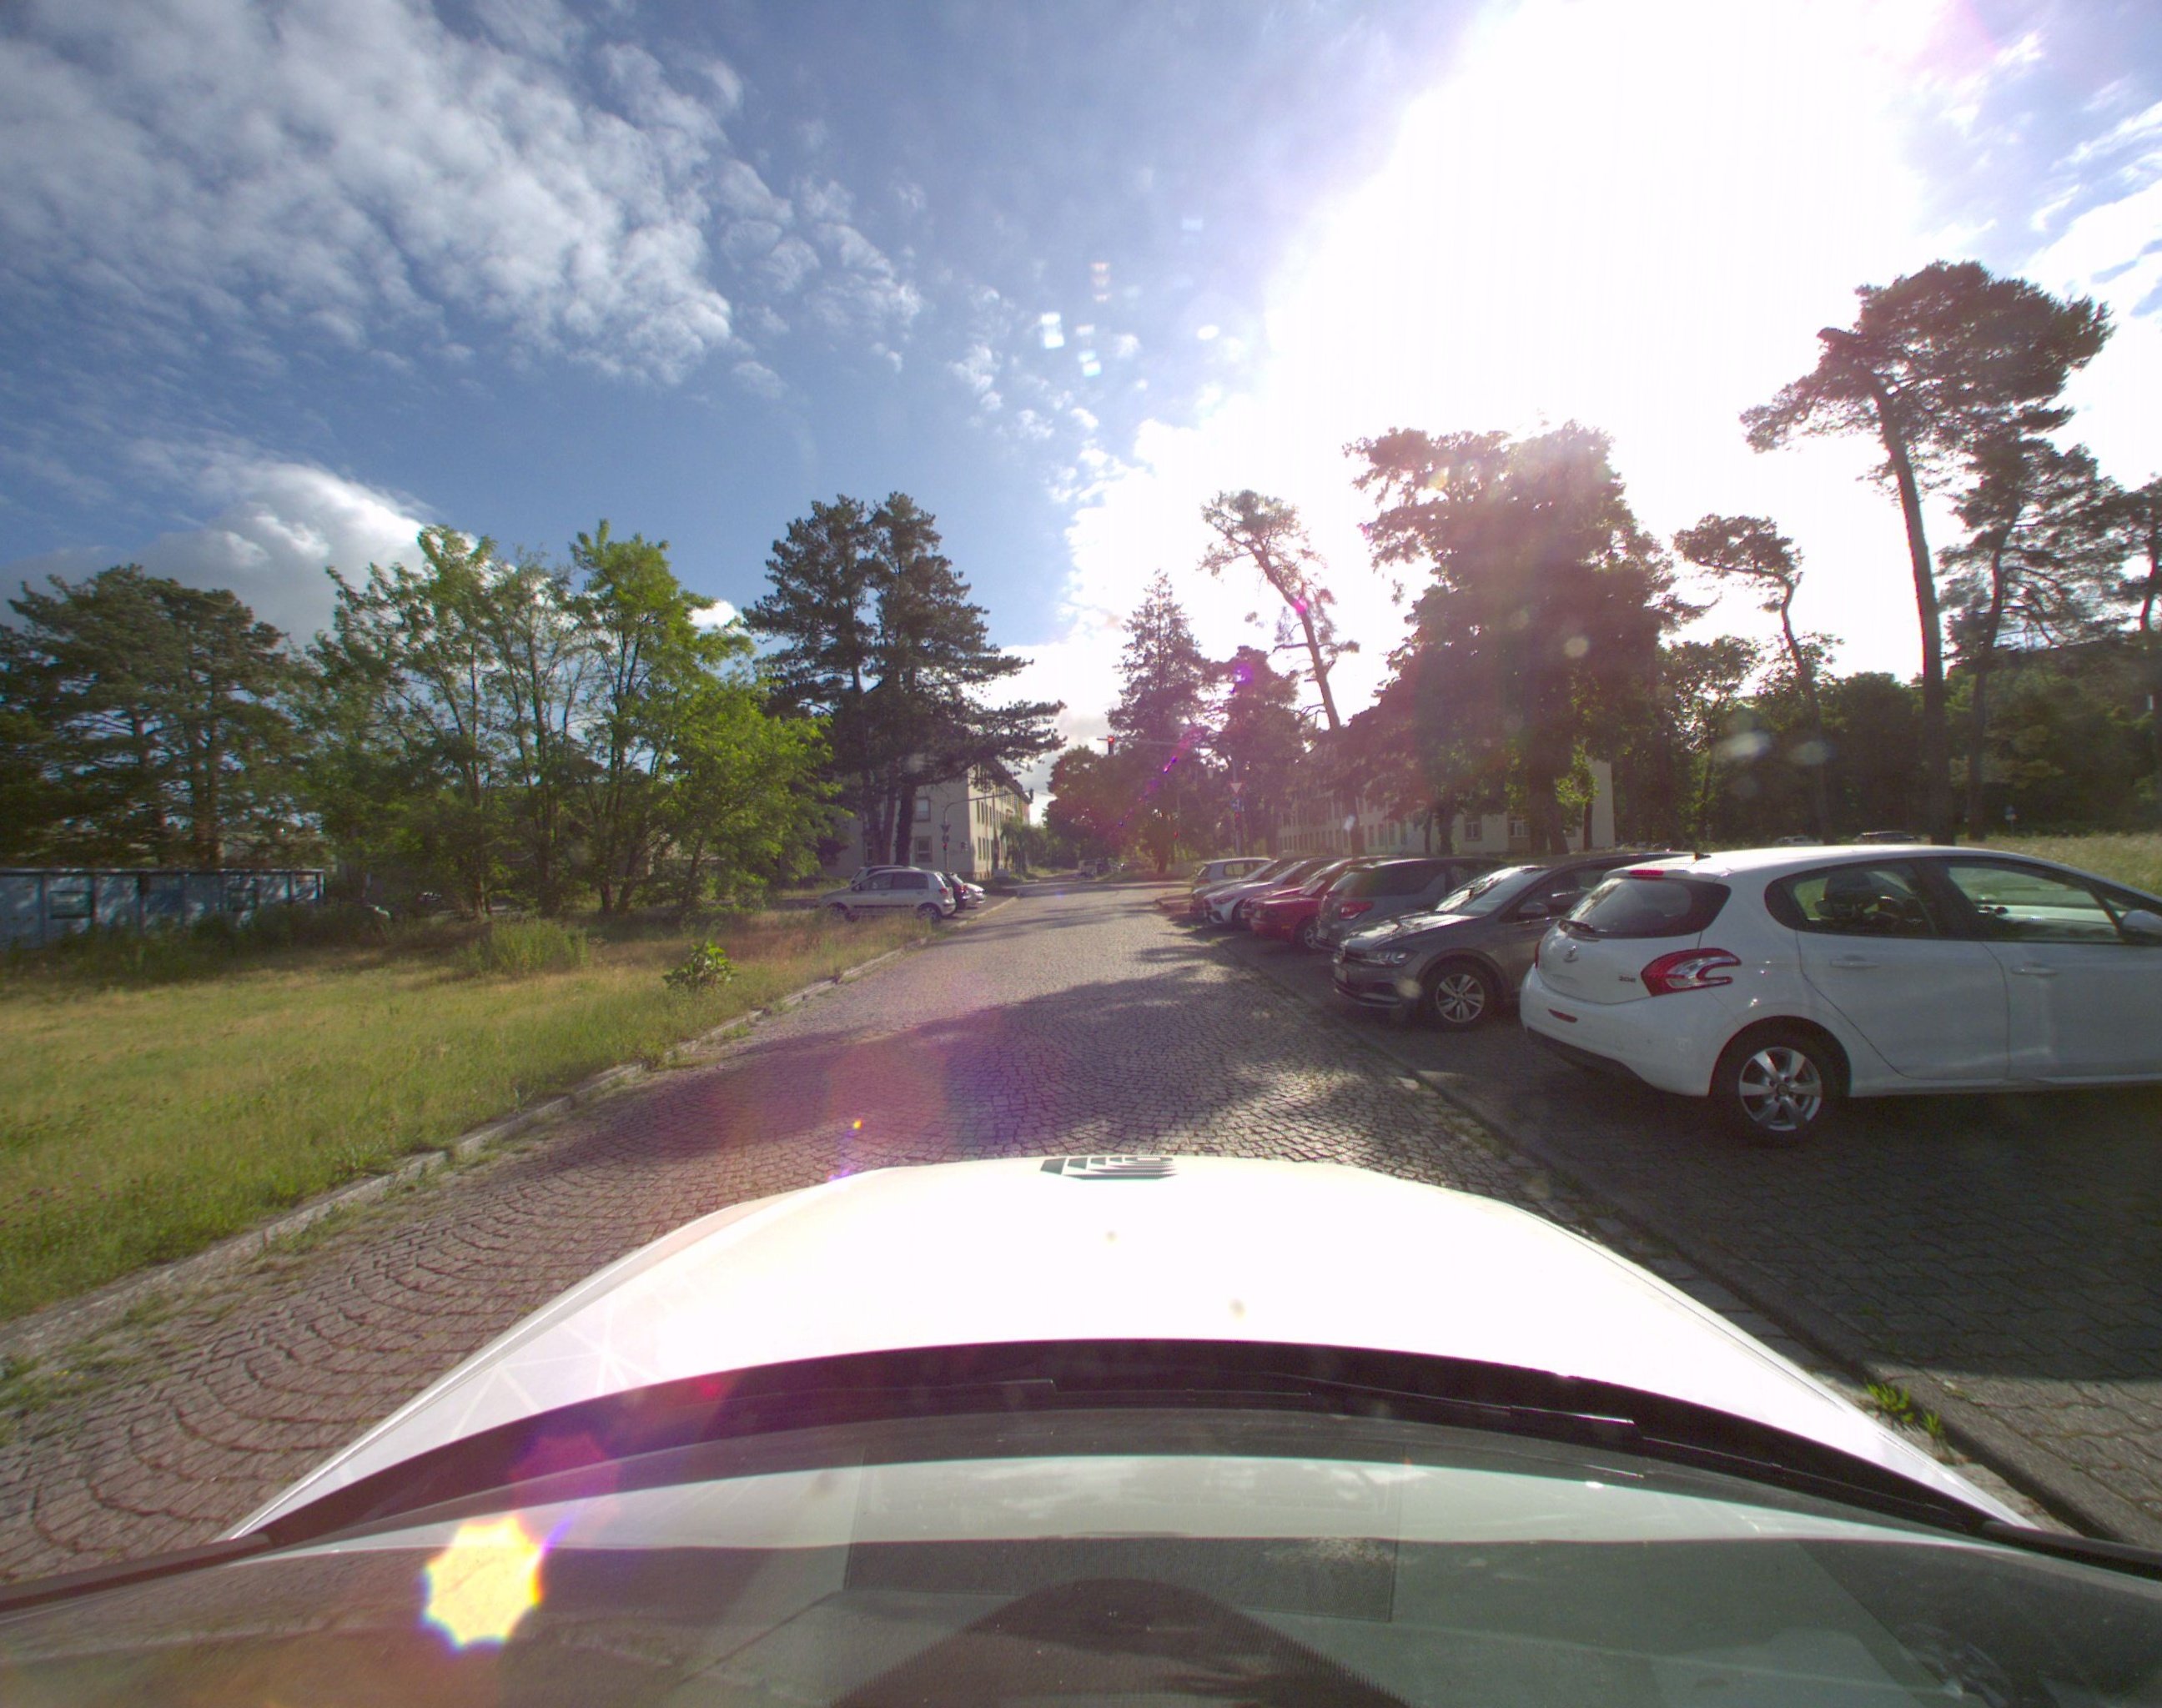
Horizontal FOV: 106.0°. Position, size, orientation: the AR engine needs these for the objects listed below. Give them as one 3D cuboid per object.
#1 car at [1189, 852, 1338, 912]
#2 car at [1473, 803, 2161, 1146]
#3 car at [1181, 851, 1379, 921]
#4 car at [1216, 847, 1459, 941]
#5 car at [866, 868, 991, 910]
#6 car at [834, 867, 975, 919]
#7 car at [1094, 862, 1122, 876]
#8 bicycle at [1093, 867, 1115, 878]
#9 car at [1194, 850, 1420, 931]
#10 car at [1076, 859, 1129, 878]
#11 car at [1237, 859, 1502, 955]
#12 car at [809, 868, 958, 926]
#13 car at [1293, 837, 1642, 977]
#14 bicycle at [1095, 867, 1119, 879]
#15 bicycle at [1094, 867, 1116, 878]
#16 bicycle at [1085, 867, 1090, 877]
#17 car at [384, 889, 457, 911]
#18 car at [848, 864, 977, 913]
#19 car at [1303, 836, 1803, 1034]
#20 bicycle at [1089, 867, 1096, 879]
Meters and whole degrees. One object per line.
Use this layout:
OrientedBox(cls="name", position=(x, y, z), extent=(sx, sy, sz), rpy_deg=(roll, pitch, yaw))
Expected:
OrientedBox(cls="car", position=(5.161, 0.769, 23.349), extent=(3.868, 1.415, 1.637), rpy_deg=(-4, 0, 1))
OrientedBox(cls="car", position=(4.695, 0.586, 4.973), extent=(3.694, 1.534, 1.761), rpy_deg=(-4, 0, 1))
OrientedBox(cls="car", position=(4.922, 0.776, 20.570), extent=(4.543, 1.415, 1.637), rpy_deg=(-4, 0, 1))
OrientedBox(cls="car", position=(4.825, 0.733, 15.718), extent=(4.113, 1.449, 1.637), rpy_deg=(-4, 0, 1))
OrientedBox(cls="car", position=(-5.612, 1.268, 30.340), extent=(4.322, 1.468, 1.829), rpy_deg=(0, 0, -3))
OrientedBox(cls="car", position=(-5.348, 1.168, 25.048), extent=(3.977, 1.480, 1.801), rpy_deg=(0, 0, -3))
OrientedBox(cls="car", position=(2.876, 1.623, 86.707), extent=(2.776, 1.467, 1.669), rpy_deg=(0, -1, -4))
OrientedBox(cls="bicycle", position=(2.120, 1.722, 74.828), extent=(2.026, 1.010, 0.626), rpy_deg=(0, -1, -7))
OrientedBox(cls="car", position=(4.817, 0.763, 17.855), extent=(4.416, 1.415, 1.781), rpy_deg=(-4, 0, 1))
OrientedBox(cls="car", position=(2.390, 1.598, 90.301), extent=(5.535, 2.014, 1.988), rpy_deg=(0, -1, -18))
OrientedBox(cls="car", position=(4.589, 0.821, 13.373), extent=(3.694, 1.223, 1.747), rpy_deg=(-4, 0, 1))
OrientedBox(cls="car", position=(-5.359, 1.145, 22.441), extent=(3.737, 1.487, 1.644), rpy_deg=(0, 0, -3))
OrientedBox(cls="car", position=(4.914, 0.641, 10.771), extent=(3.695, 1.449, 1.816), rpy_deg=(-4, 0, 0))
OrientedBox(cls="bicycle", position=(2.315, 1.667, 72.260), extent=(2.107, 1.010, 0.619), rpy_deg=(0, -1, -7))
OrientedBox(cls="bicycle", position=(2.180, 1.703, 73.945), extent=(2.002, 1.010, 0.630), rpy_deg=(0, -1, -7))
OrientedBox(cls="bicycle", position=(0.666, 1.840, 81.895), extent=(0.416, 1.010, 1.483), rpy_deg=(0, -1, 2))
OrientedBox(cls="car", position=(-47.498, 3.291, 58.705), extent=(1.895, 1.433, 4.001), rpy_deg=(-2, -1, 1))
OrientedBox(cls="car", position=(-5.733, 1.163, 28.053), extent=(4.070, 1.593, 1.884), rpy_deg=(0, 0, -3))
OrientedBox(cls="car", position=(4.264, 0.695, 7.865), extent=(3.694, 1.449, 1.856), rpy_deg=(-4, 0, 1))
OrientedBox(cls="bicycle", position=(0.956, 1.600, 68.679), extent=(0.466, 1.010, 1.584), rpy_deg=(0, -1, -3))
